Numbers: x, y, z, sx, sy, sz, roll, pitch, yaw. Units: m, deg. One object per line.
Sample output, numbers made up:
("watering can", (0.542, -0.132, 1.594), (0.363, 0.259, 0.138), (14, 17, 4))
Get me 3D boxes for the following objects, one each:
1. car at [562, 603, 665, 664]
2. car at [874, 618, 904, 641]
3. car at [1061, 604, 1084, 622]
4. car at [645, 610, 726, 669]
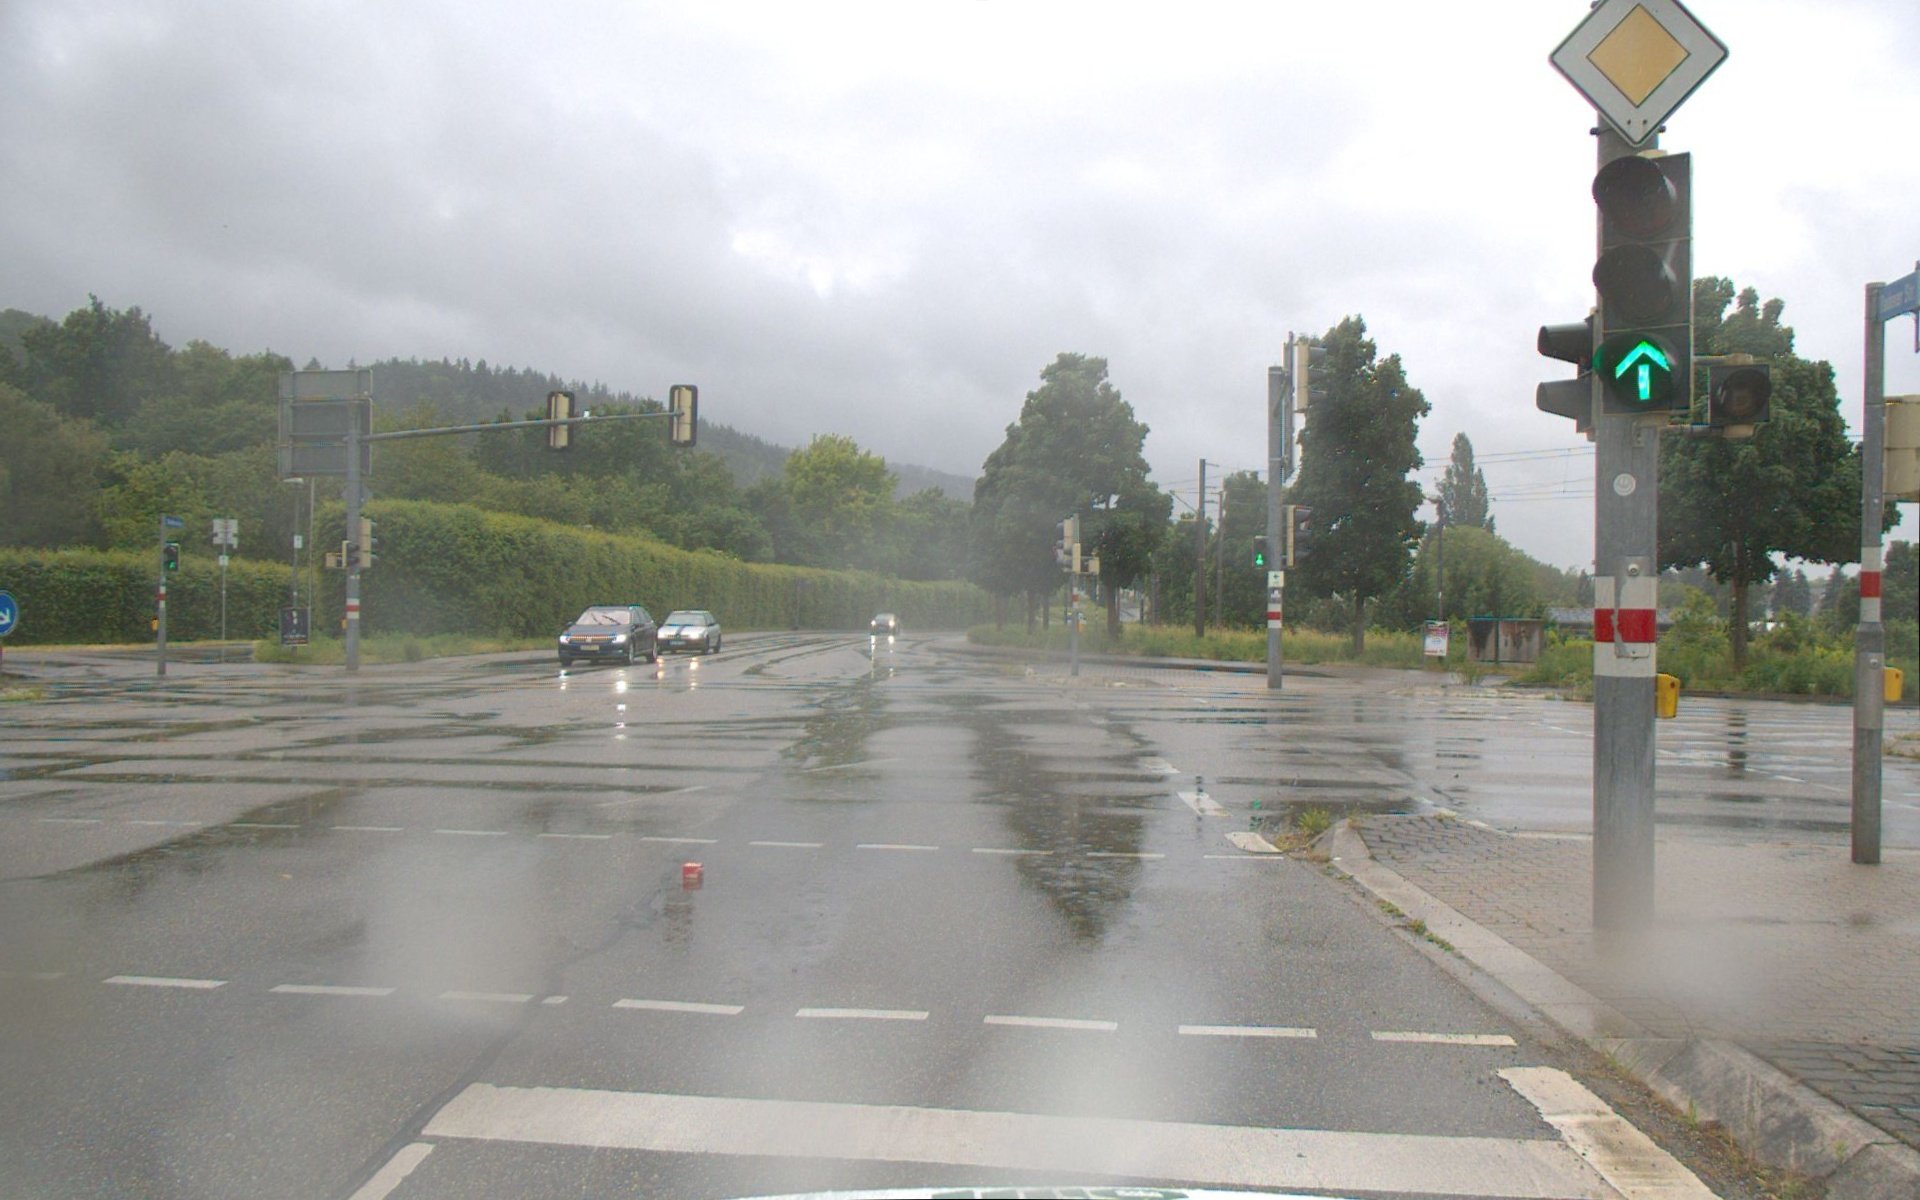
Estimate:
("car", (-8.901, 0.826, 42.824), (1.673, 1.491, 4.453), (0, 0, 1))
("car", (-5.023, 2.080, 116.848), (1.748, 1.531, 4.061), (2, -1, 2))
("car", (12.407, 1.467, 182.652), (1.912, 1.937, 4.123), (0, 0, 13))
("car", (-8.838, 1.240, 53.607), (1.995, 1.738, 4.065), (1, 0, -1))
